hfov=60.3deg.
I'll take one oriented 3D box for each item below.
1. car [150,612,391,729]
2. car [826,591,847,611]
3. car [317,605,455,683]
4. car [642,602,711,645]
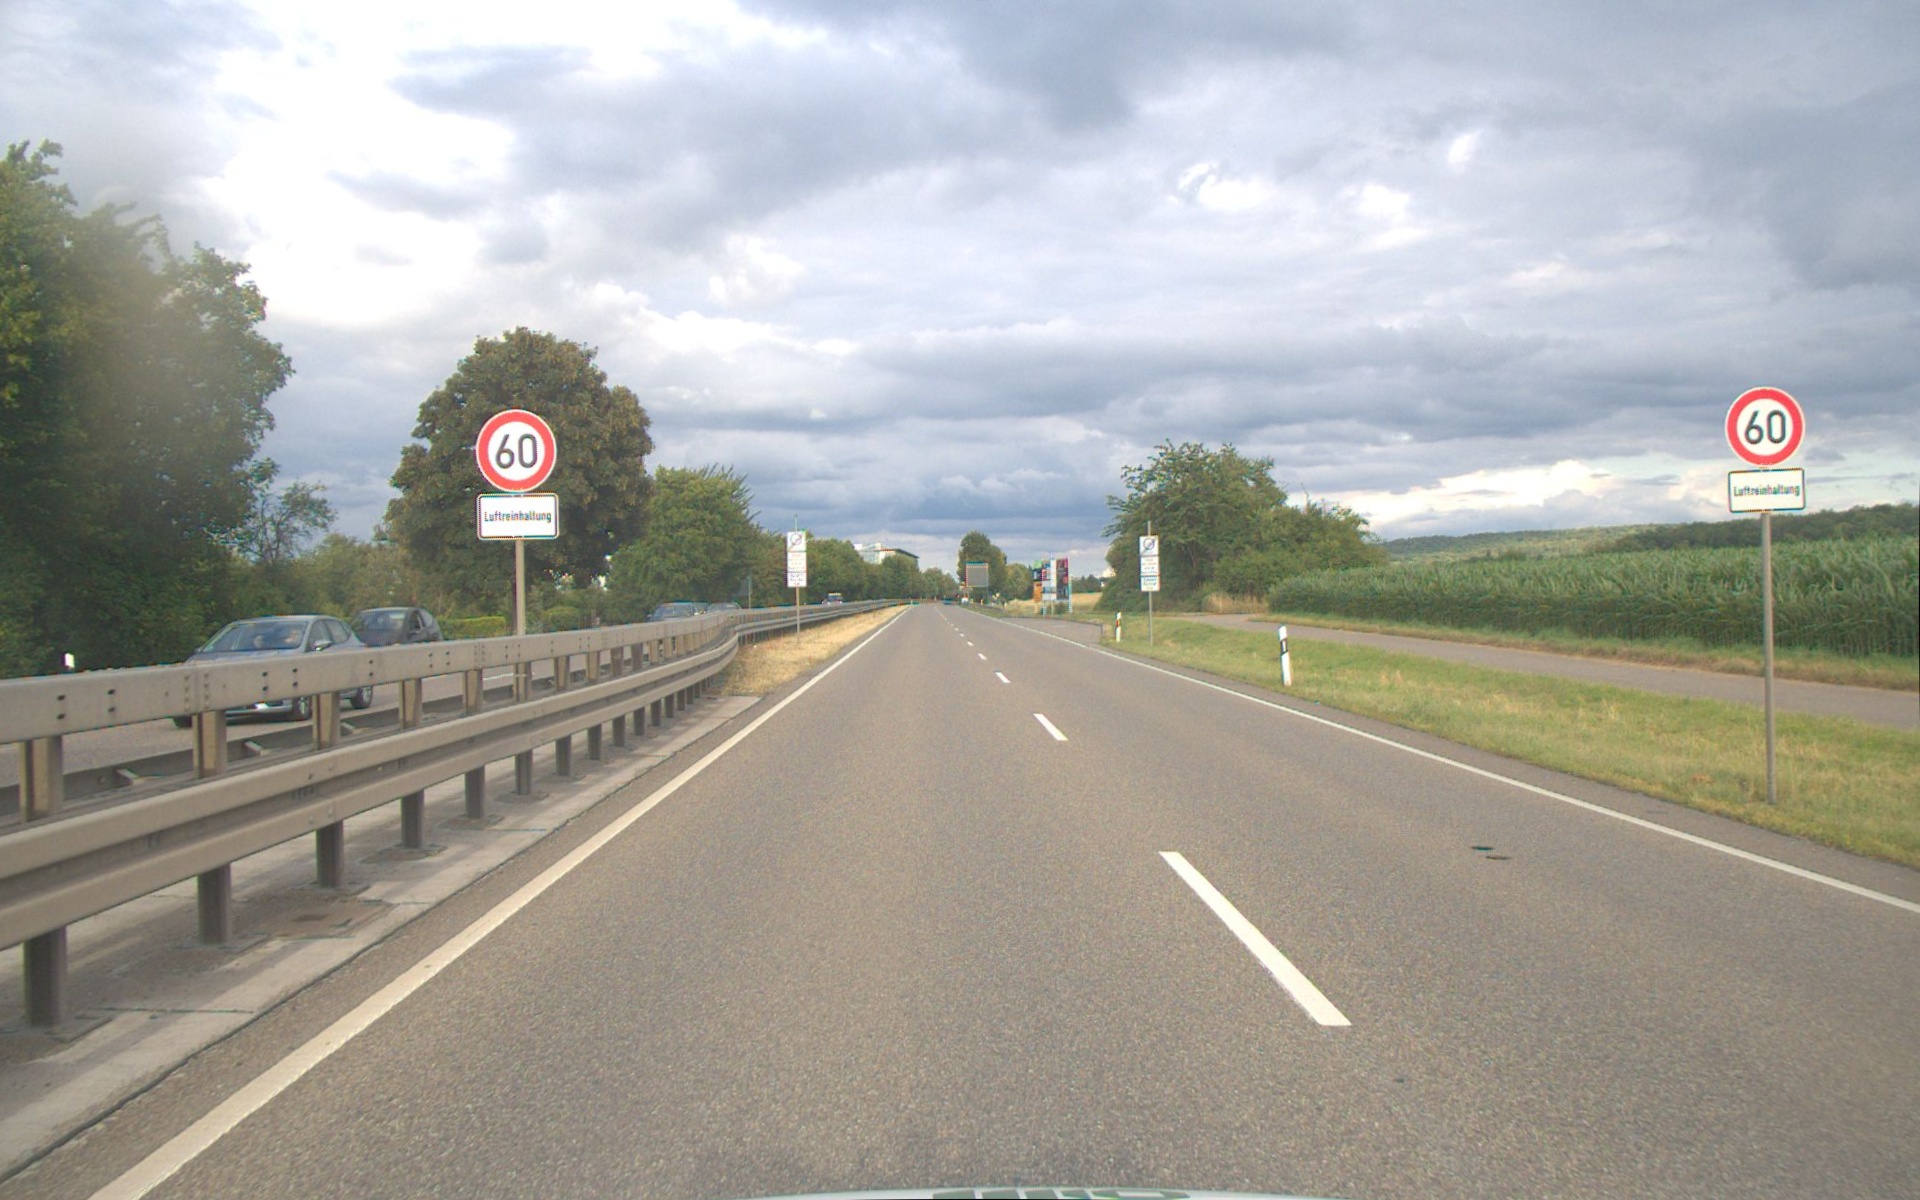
[{"bbox_3d":[-9.717,0.934,23.672,1.753,1.410,4.159,-2,0,-1],"label":"car"},{"bbox_3d":[-14.161,0.089,189.671,1.953,2.178,5.318,-2,0,0],"label":"car"},{"bbox_3d":[-13.101,0.953,37.989,1.753,1.601,4.159,-2,0,-1],"label":"car"},{"bbox_3d":[-10.707,0.859,62.717,1.829,1.503,4.824,-2,0,-1],"label":"car"}]
